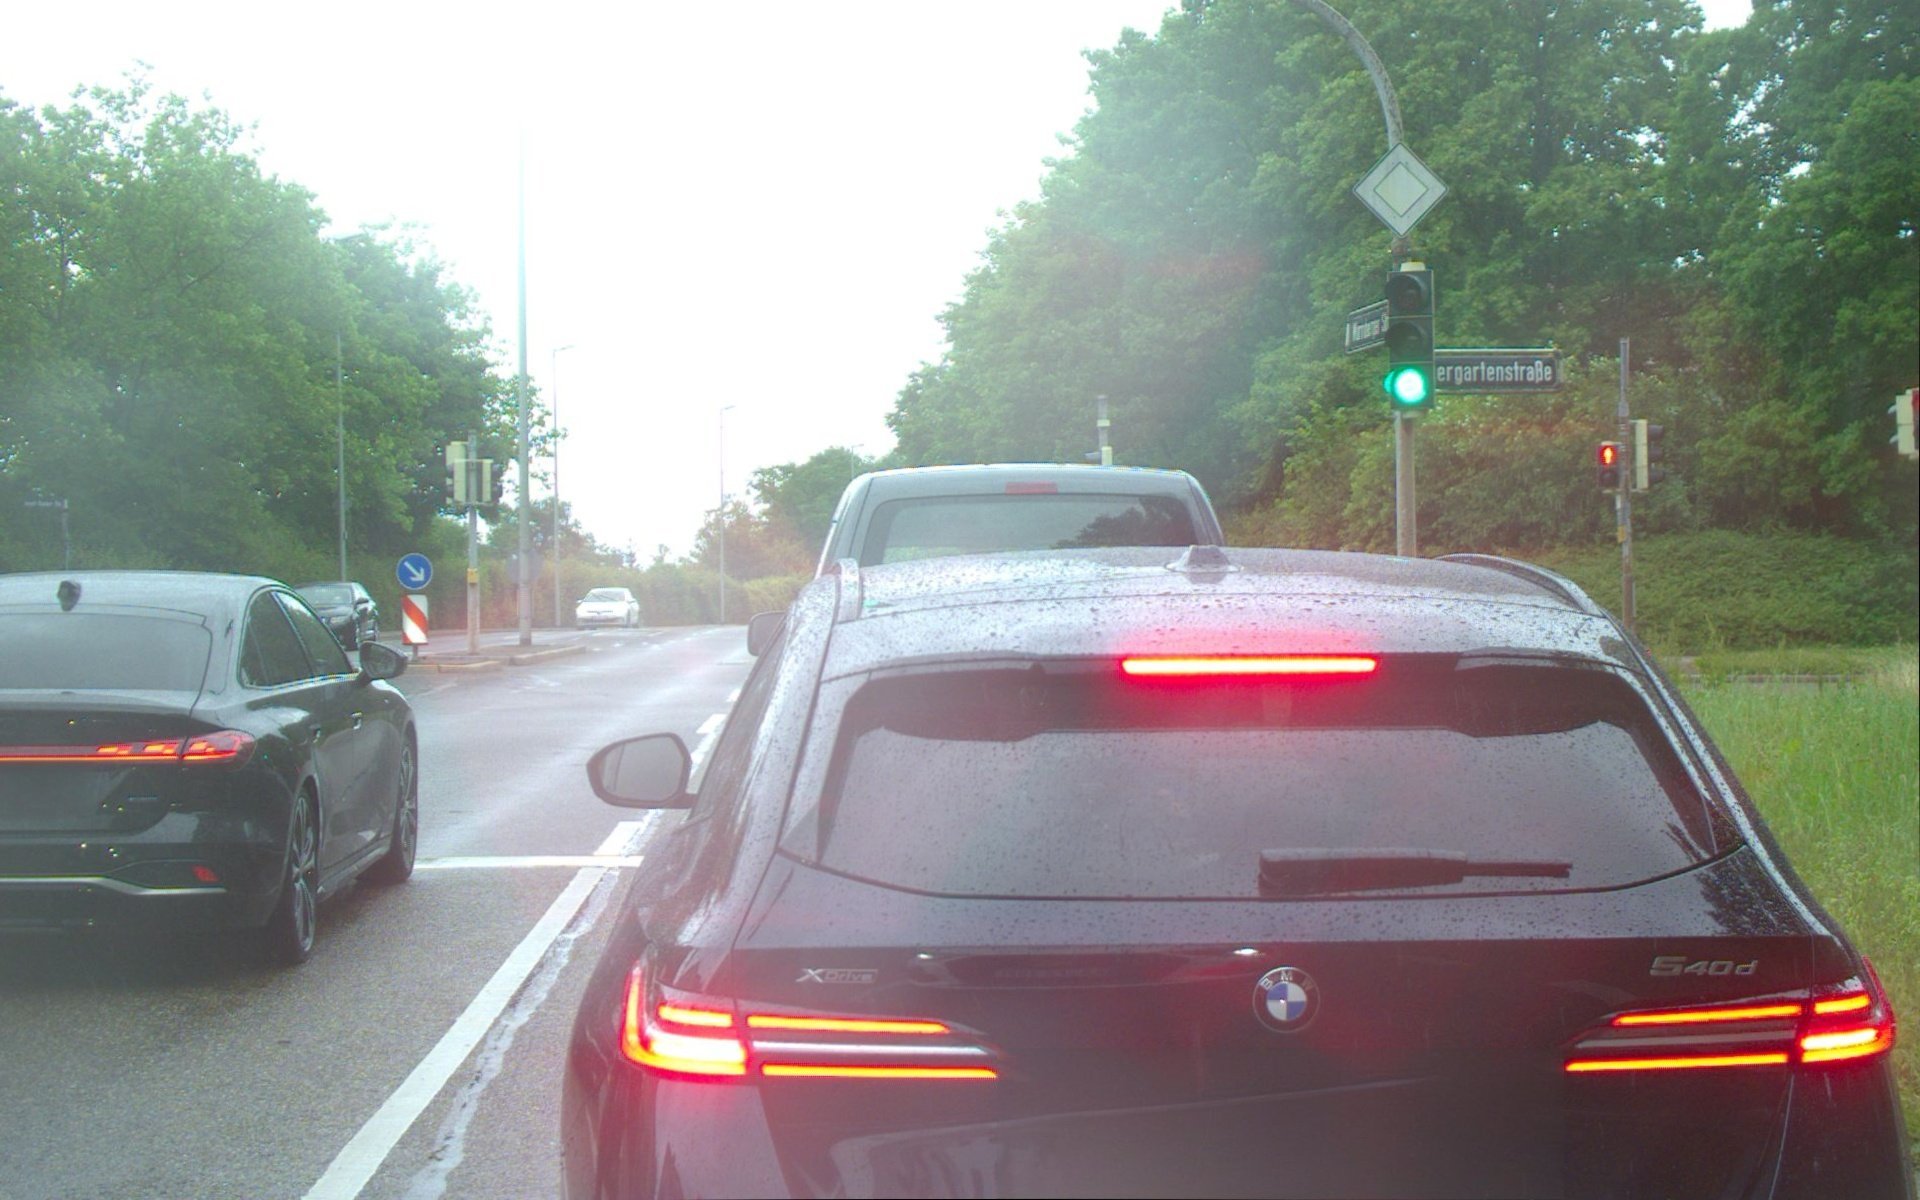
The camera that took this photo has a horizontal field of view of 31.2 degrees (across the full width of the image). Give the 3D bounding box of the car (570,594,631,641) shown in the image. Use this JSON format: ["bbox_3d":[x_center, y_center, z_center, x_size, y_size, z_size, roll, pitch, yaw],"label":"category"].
[{"bbox_3d":[-12.408,0.585,118.749,1.727,1.480,4.157,-2,1,-2],"label":"car"}]

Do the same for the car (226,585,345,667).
[{"bbox_3d":[-13.471,0.505,68.831,1.862,1.487,3.834,-1,1,-4],"label":"car"}]

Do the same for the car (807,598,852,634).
[{"bbox_3d":[-6.022,0.722,158.827,2.025,1.558,3.877,-2,0,-2],"label":"car"}]

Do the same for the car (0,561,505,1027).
[{"bbox_3d":[-3.018,0.590,13.112,2.014,1.410,4.487,0,1,-1],"label":"car"}]

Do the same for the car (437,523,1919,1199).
[{"bbox_3d":[0.242,0.667,5.910,1.764,1.531,3.673,0,0,-1],"label":"car"}]

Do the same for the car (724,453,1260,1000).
[{"bbox_3d":[0.083,0.375,13.332,1.767,1.804,3.905,0,1,-1],"label":"car"}]
